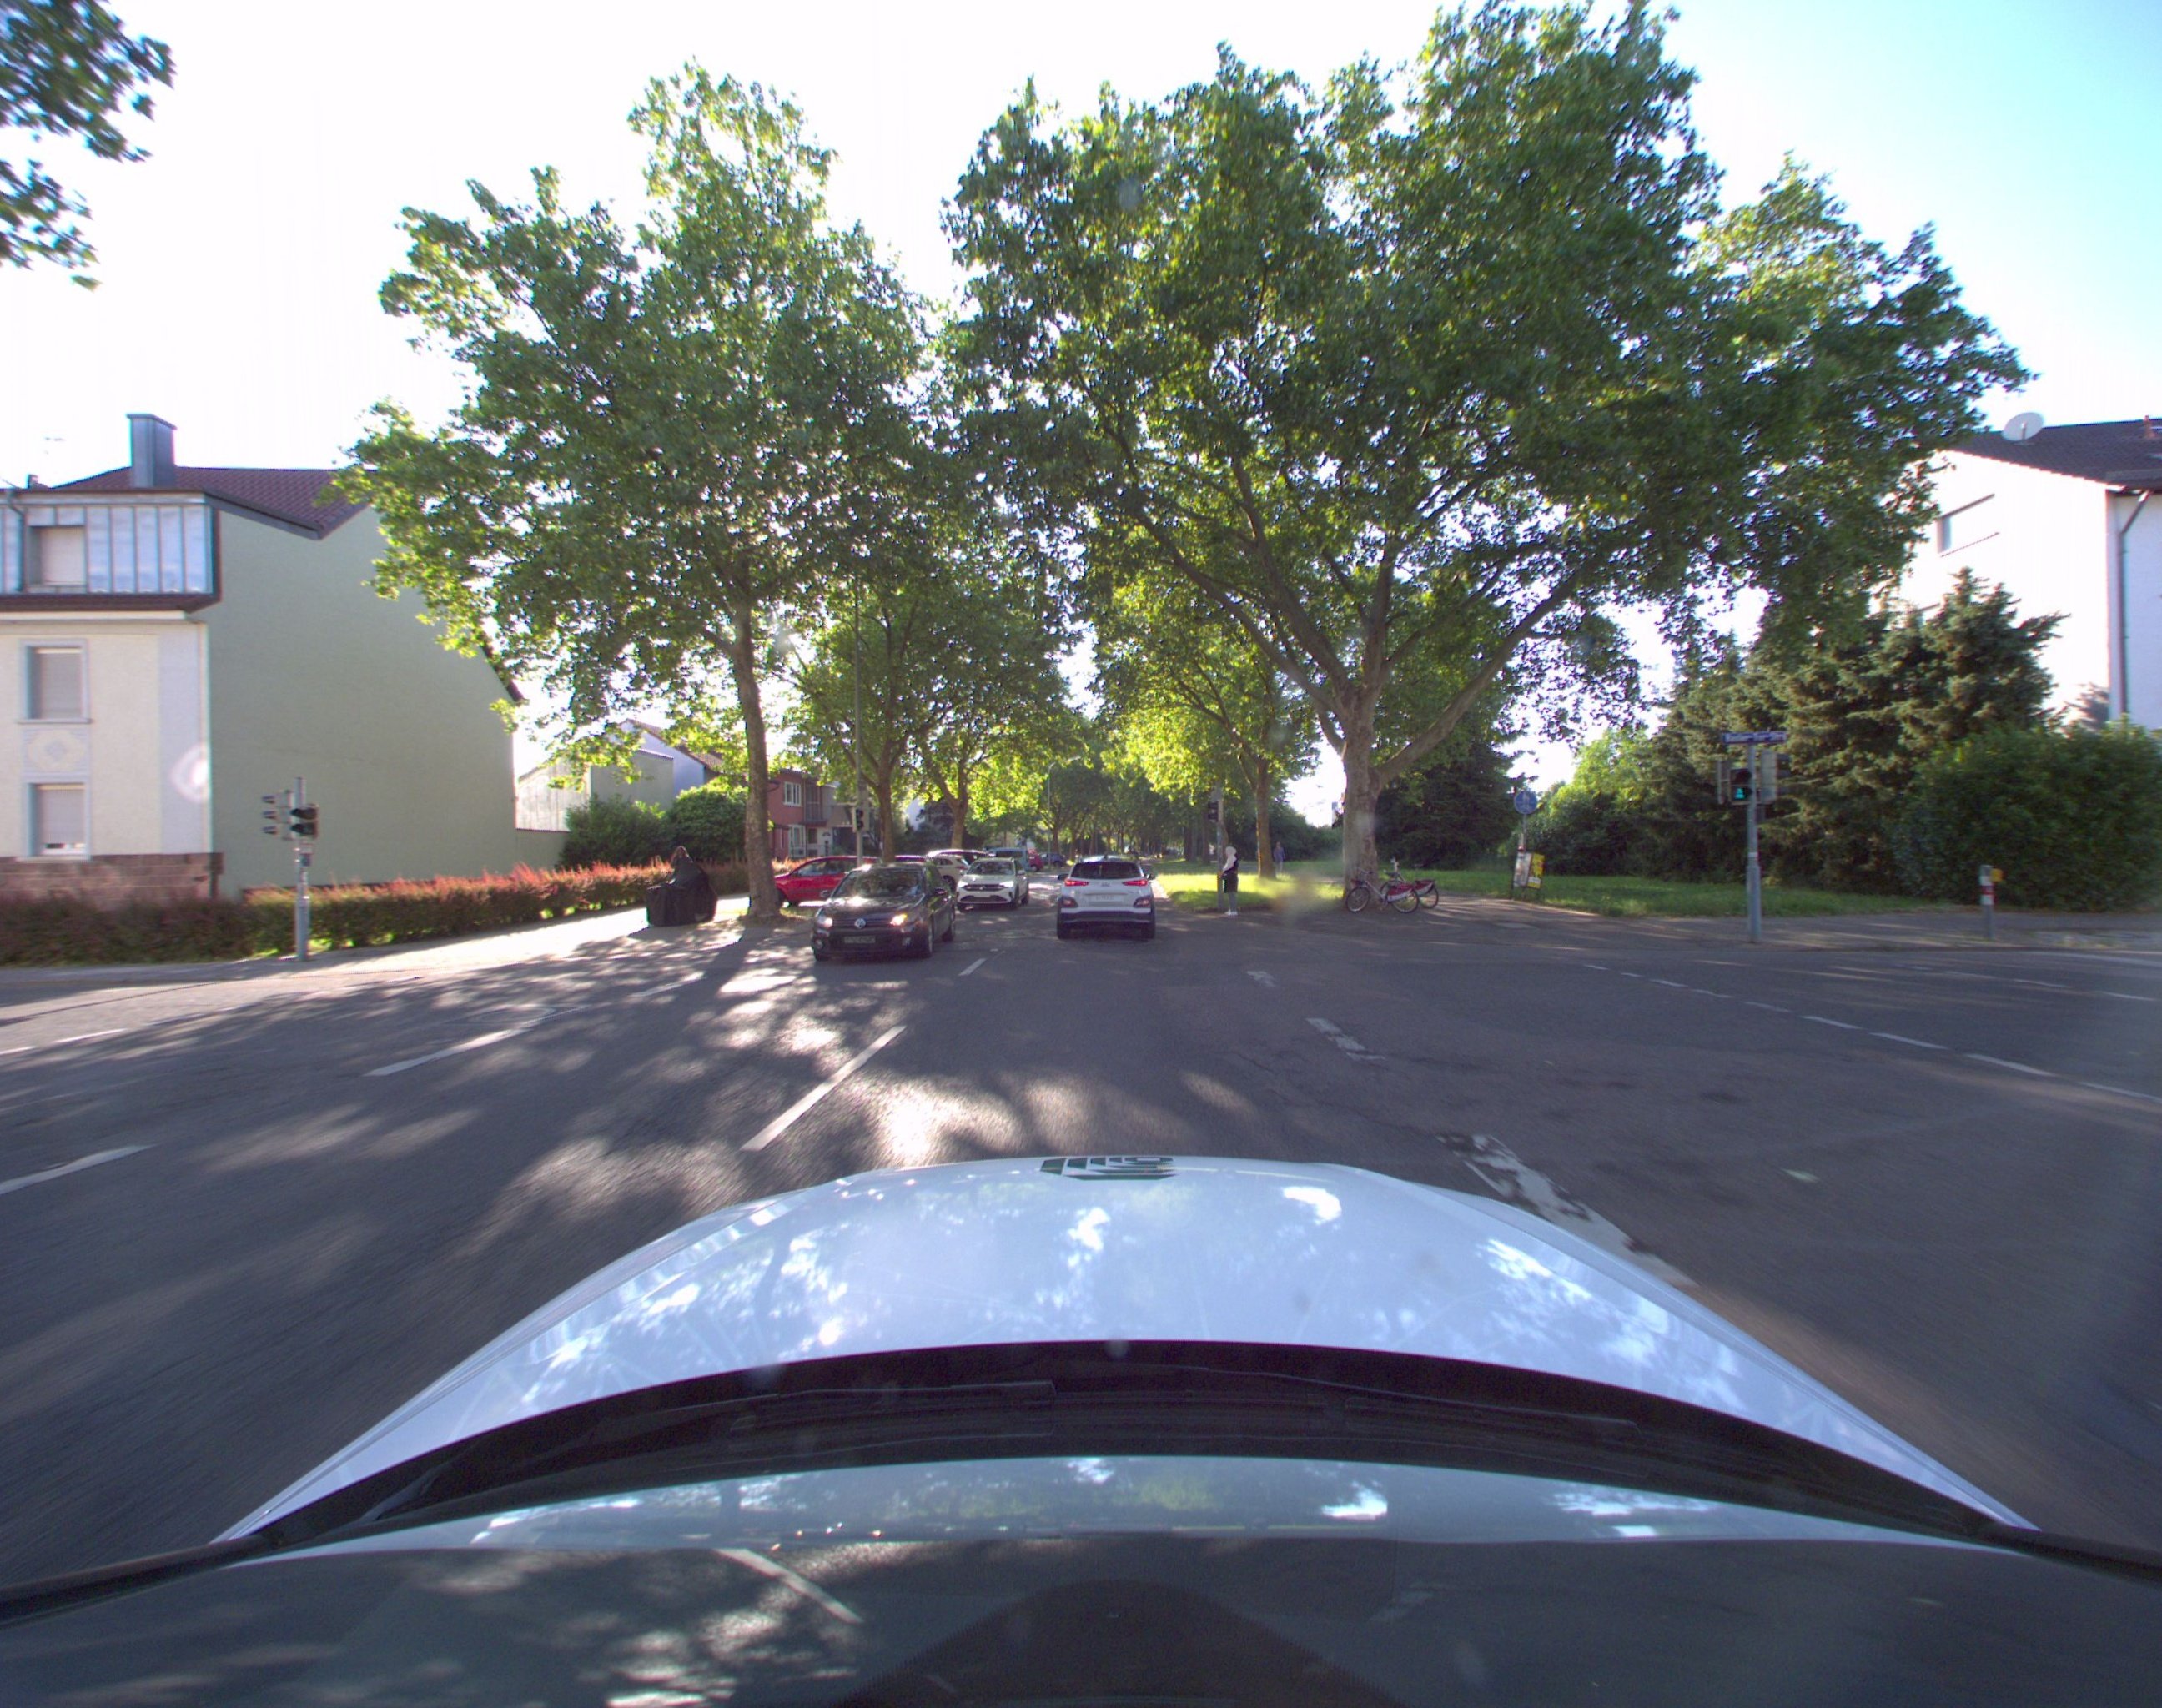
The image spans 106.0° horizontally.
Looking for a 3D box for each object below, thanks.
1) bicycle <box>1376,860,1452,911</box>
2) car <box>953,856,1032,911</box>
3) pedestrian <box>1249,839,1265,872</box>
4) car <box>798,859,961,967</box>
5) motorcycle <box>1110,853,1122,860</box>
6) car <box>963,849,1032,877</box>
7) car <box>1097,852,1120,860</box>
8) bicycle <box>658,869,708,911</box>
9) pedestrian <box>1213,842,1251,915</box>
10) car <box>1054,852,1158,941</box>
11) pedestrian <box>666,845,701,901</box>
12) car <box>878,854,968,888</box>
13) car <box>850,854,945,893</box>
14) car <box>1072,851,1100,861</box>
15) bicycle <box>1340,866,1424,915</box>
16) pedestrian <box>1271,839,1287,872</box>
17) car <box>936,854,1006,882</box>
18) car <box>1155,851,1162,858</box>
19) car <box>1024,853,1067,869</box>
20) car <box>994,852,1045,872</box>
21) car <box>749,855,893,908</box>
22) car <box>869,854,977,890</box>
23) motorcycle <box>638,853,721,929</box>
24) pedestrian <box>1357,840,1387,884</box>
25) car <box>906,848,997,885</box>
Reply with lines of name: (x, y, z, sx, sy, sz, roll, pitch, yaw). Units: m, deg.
bicycle: (7.849, 0.719, 19.297, 0.446, 1.082, 1.996, -3, 2, -18)
car: (-2.585, 0.820, 24.689, 1.709, 1.501, 4.097, 0, 0, 3)
pedestrian: (10.102, 0.066, 46.766, 0.757, 1.846, 0.789, -1, 0, 6)
car: (-3.142, 0.848, 13.540, 1.721, 1.464, 4.066, -1, 0, -1)
motorcycle: (6.707, 0.489, 155.992, 2.375, 1.388, 0.649, 0, 1, 3)
car: (-5.556, 0.561, 54.518, 4.370, 1.824, 1.996, 0, 0, 1)
car: (5.226, 0.407, 153.747, 4.164, 1.584, 2.002, 0, 0, 4)
bicycle: (-11.606, 1.021, 23.815, 0.508, 1.041, 2.150, -1, 3, -4)
pedestrian: (3.700, 0.596, 20.015, 0.633, 1.719, 0.824, -3, 0, -5)
car: (0.459, 0.760, 16.422, 1.829, 1.555, 4.000, -1, 0, 0)
pedestrian: (-11.613, 0.539, 23.823, 0.508, 1.531, 1.033, -1, 2, -4)
car: (-7.210, 0.762, 37.441, 3.744, 1.483, 1.755, -1, 0, 2)
car: (-7.238, 0.755, 32.360, 3.328, 1.480, 1.696, 0, 0, 0)
car: (0.715, 0.277, 116.628, 3.806, 1.316, 1.793, 1, 0, 6)
bicycle: (6.774, 0.809, 18.369, 1.698, 1.035, 0.449, -1, 3, 37)
pedestrian: (11.318, 0.071, 46.476, 0.751, 1.847, 0.804, -1, 0, 6)
car: (-6.191, 0.796, 46.155, 3.627, 1.517, 1.783, 0, 0, 2)
car: (18.098, 0.118, 190.965, 1.681, 1.465, 3.700, 0, 0, 5)
car: (-3.424, 0.642, 78.292, 3.974, 1.518, 1.818, 0, 0, 1)
car: (-4.818, 0.630, 64.448, 3.857, 1.518, 1.665, -1, 0, 1)
car: (-7.830, 0.808, 24.759, 3.752, 1.535, 1.831, 0, 0, 0)
car: (-6.644, 0.751, 34.566, 4.147, 1.501, 1.876, 0, 0, 0)
motorcycle: (-9.811, 0.854, 20.029, 0.978, 1.637, 2.386, -1, 2, -5)
pedestrian: (11.108, 0.293, 31.099, 0.776, 1.649, 0.939, -2, 0, 2)
car: (-6.260, 0.609, 39.591, 4.075, 1.716, 1.833, 0, 0, 2)
